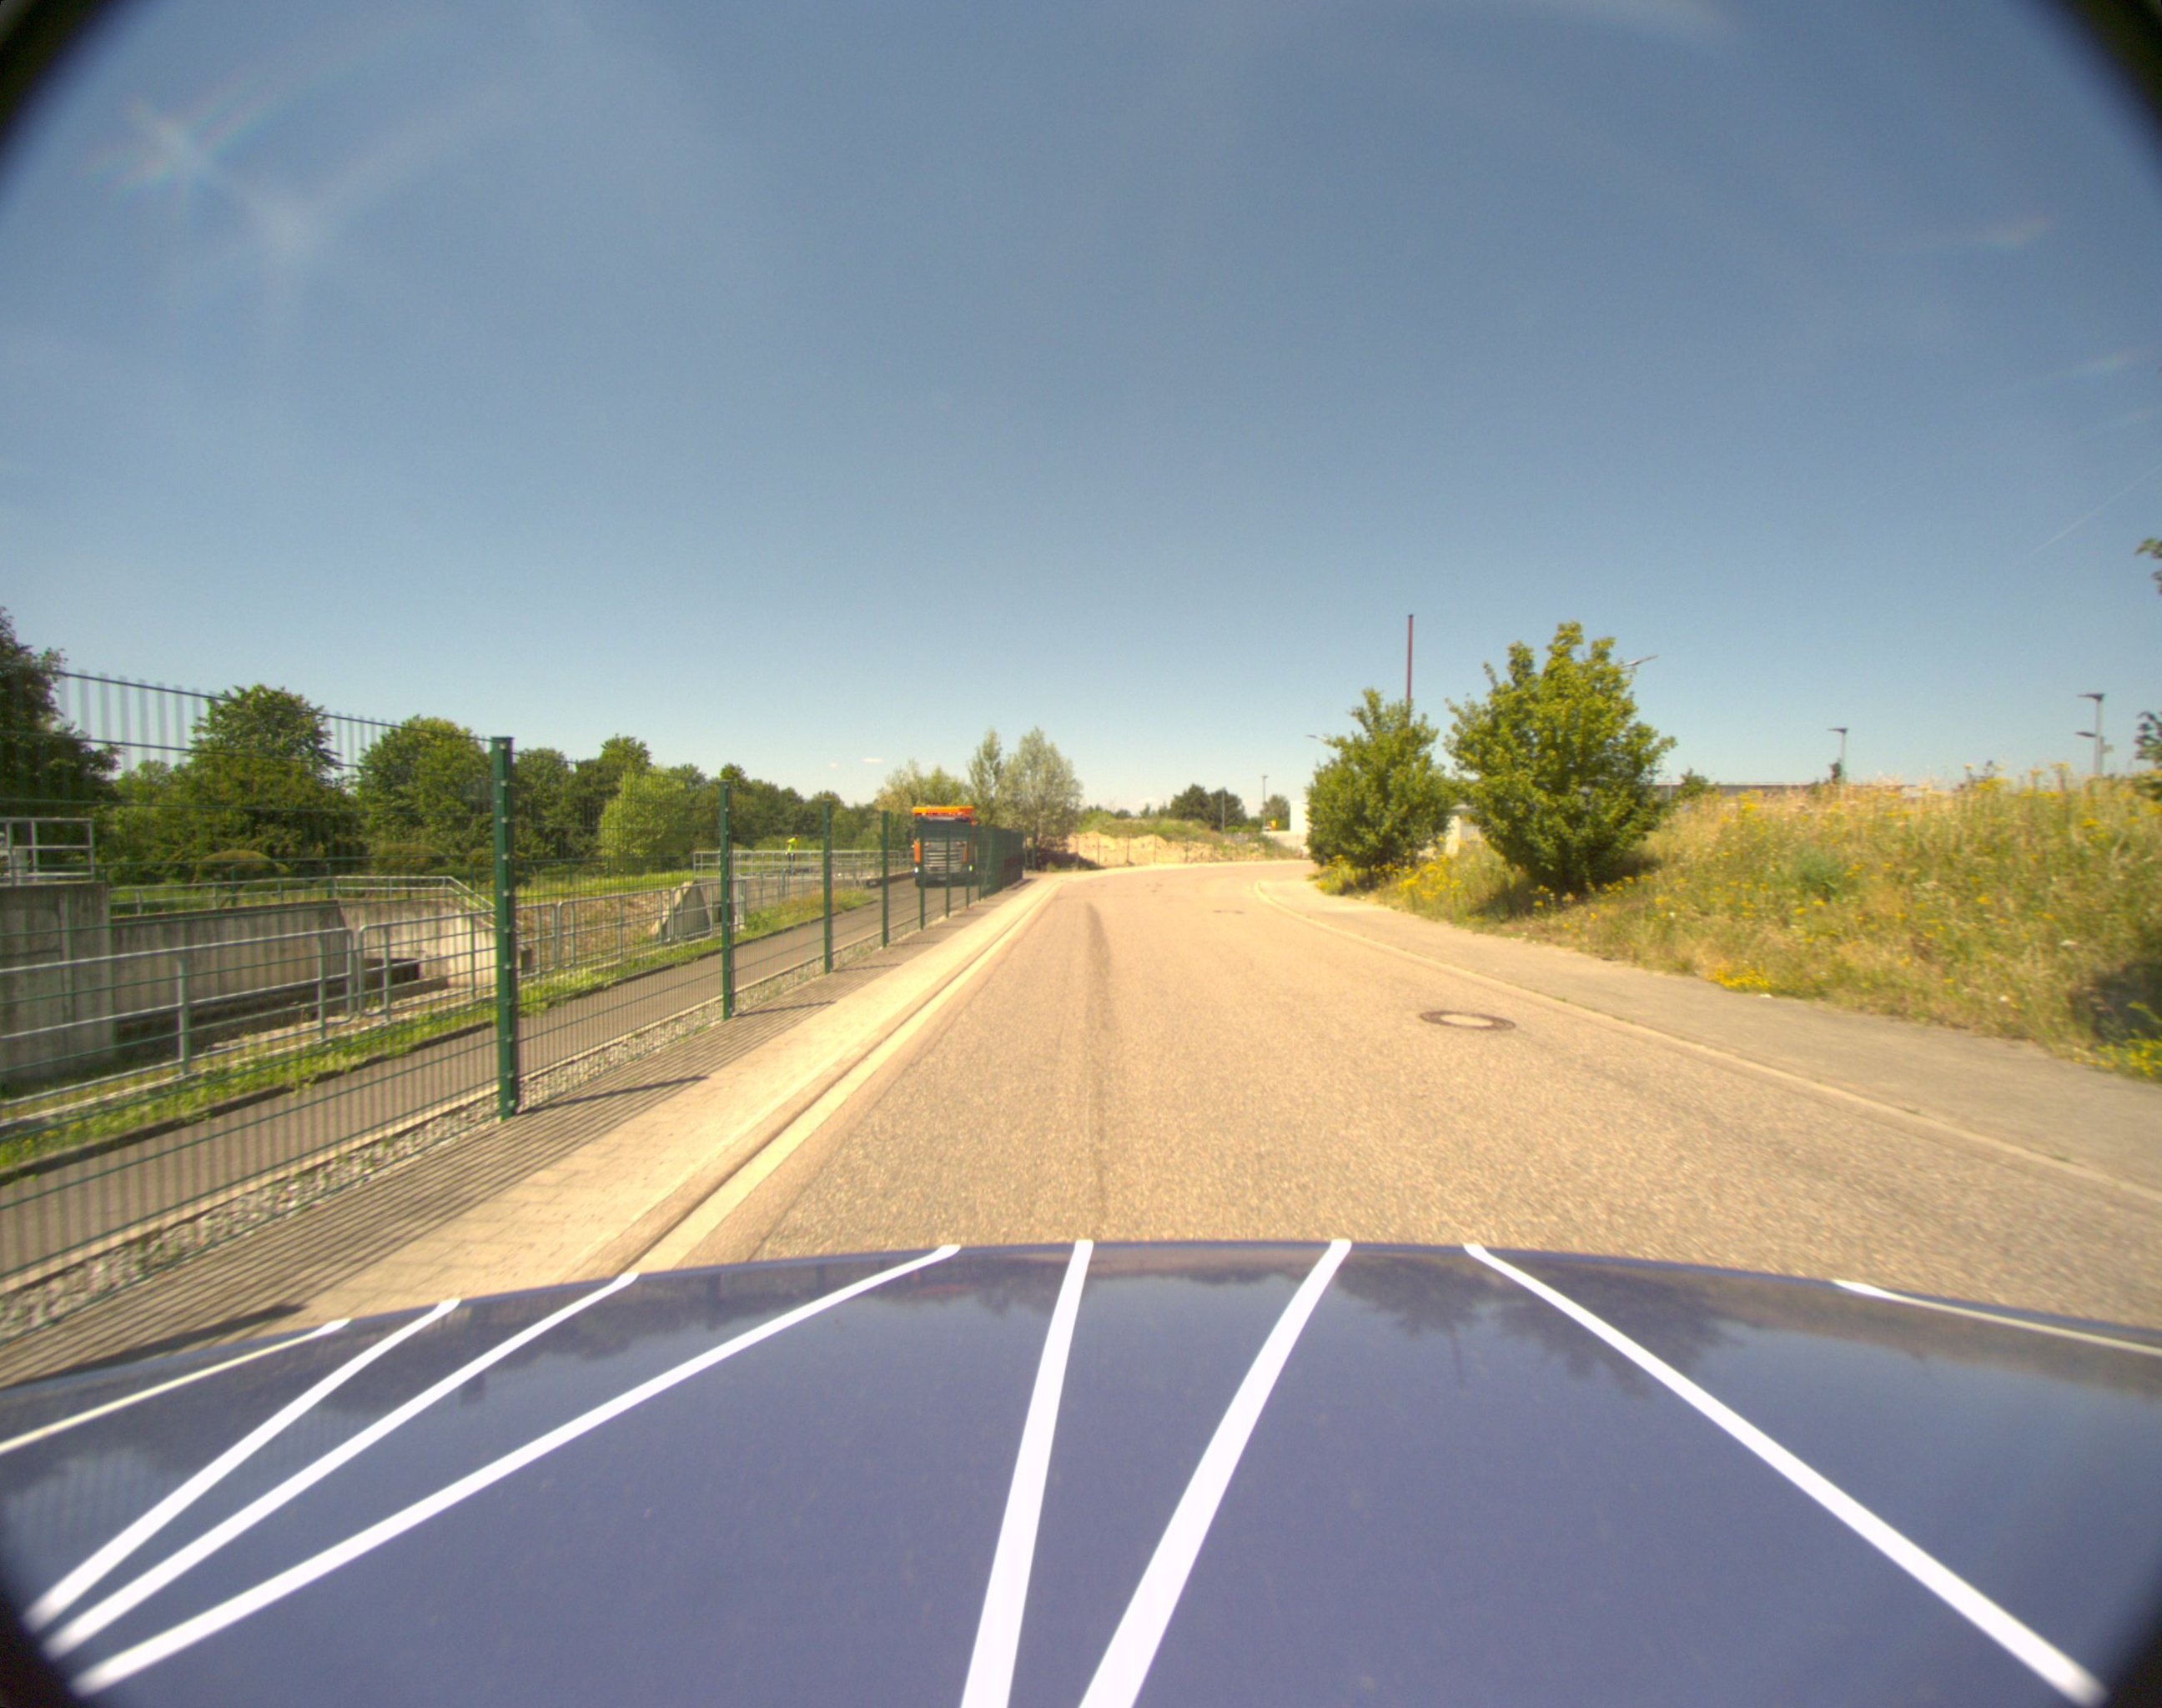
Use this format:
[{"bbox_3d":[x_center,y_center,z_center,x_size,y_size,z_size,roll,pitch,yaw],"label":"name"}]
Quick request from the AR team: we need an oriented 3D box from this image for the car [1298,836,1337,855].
[{"bbox_3d":[20.420,-0.776,65.833,1.892,1.454,4.018,0,4,-3],"label":"car"}]

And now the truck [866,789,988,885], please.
[{"bbox_3d":[-6.614,-0.804,34.498,4.162,3.785,8.606,0,2,-3],"label":"truck"}]
